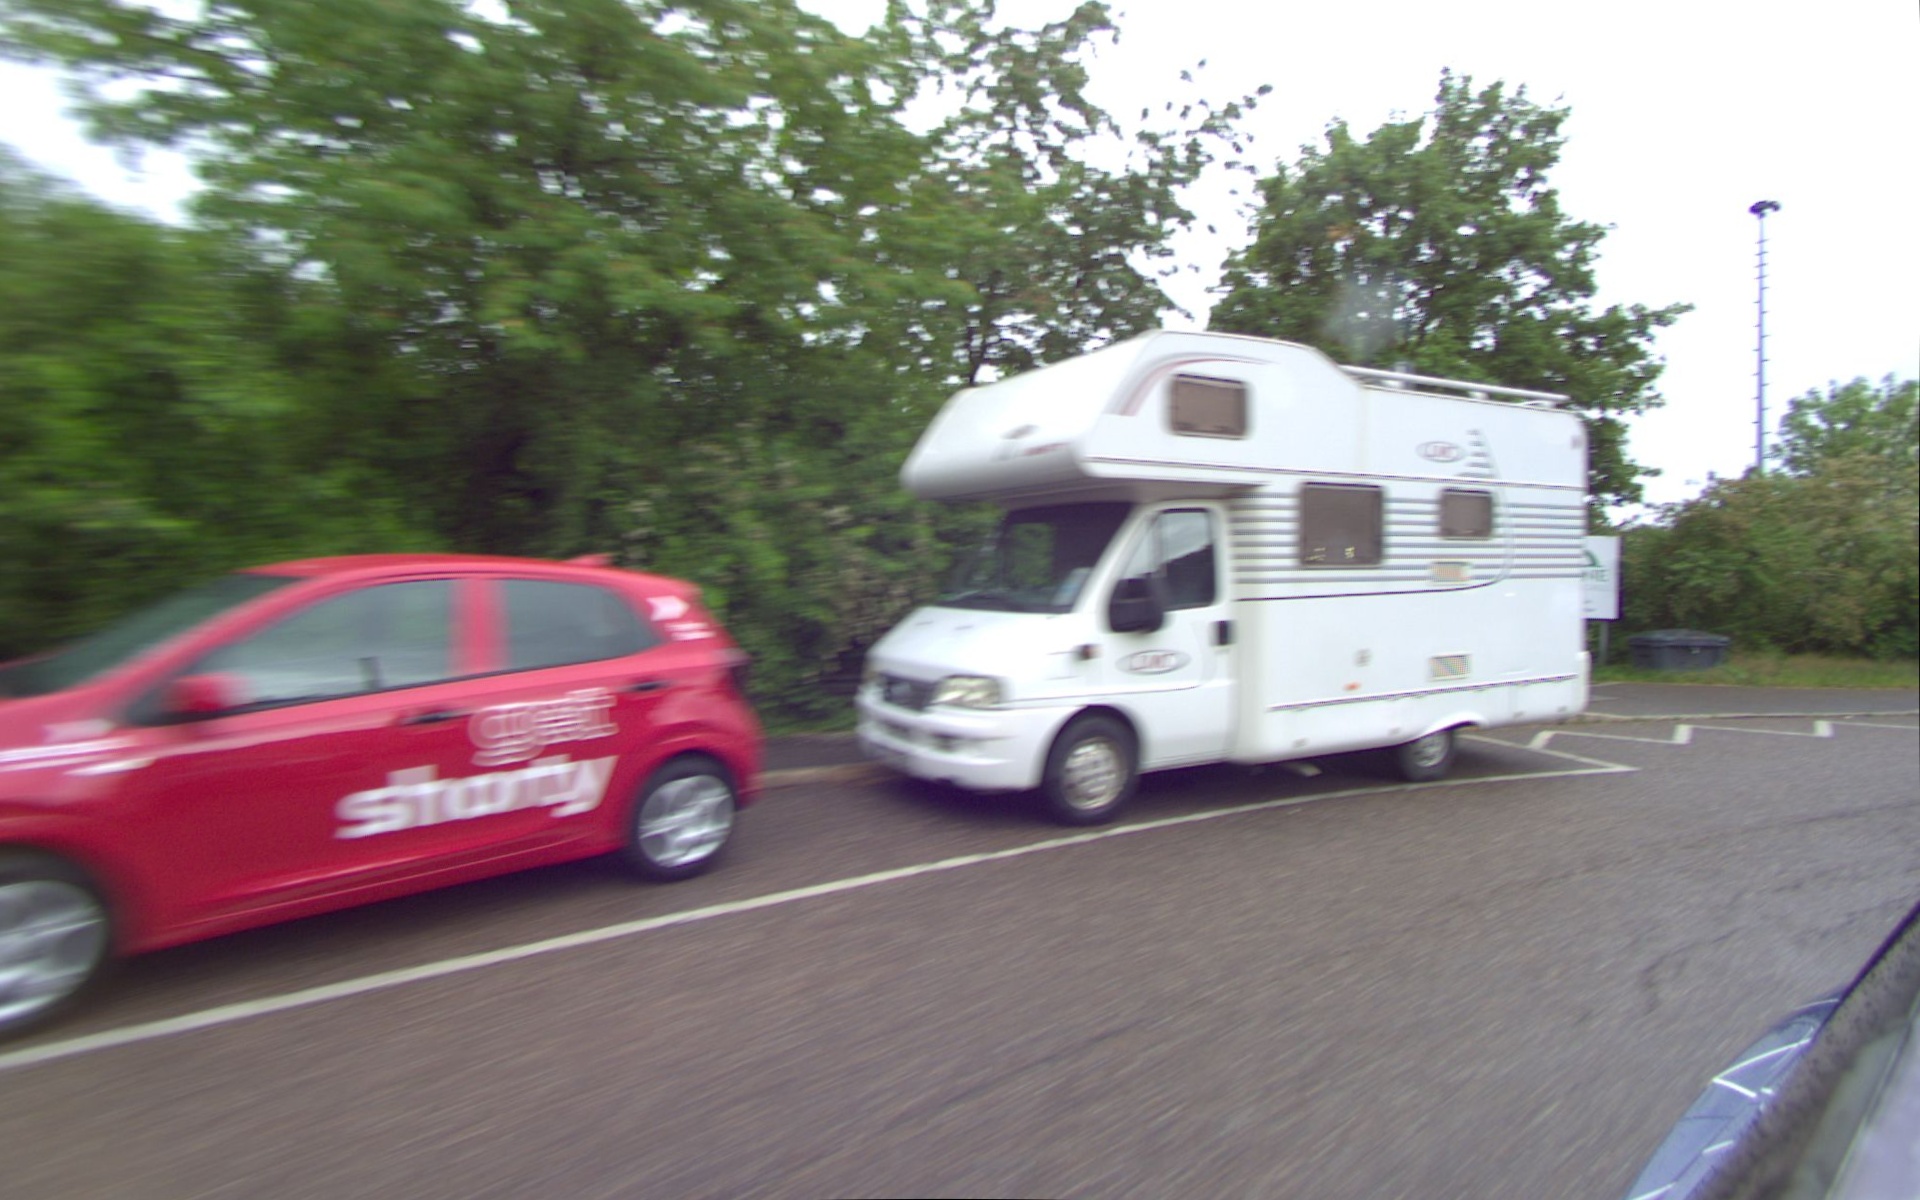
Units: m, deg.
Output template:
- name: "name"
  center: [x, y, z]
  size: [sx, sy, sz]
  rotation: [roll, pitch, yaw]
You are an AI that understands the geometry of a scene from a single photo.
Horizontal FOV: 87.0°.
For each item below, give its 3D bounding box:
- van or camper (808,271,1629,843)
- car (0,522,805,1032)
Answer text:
- name: "van or camper"
  center: [2.178, -0.249, 7.840]
  size: [6.154, 2.980, 2.401]
  rotation: [0, 2, -29]
- name: "car"
  center: [-2.647, 0.473, 4.319]
  size: [1.640, 1.479, 3.750]
  rotation: [3, 2, 41]
